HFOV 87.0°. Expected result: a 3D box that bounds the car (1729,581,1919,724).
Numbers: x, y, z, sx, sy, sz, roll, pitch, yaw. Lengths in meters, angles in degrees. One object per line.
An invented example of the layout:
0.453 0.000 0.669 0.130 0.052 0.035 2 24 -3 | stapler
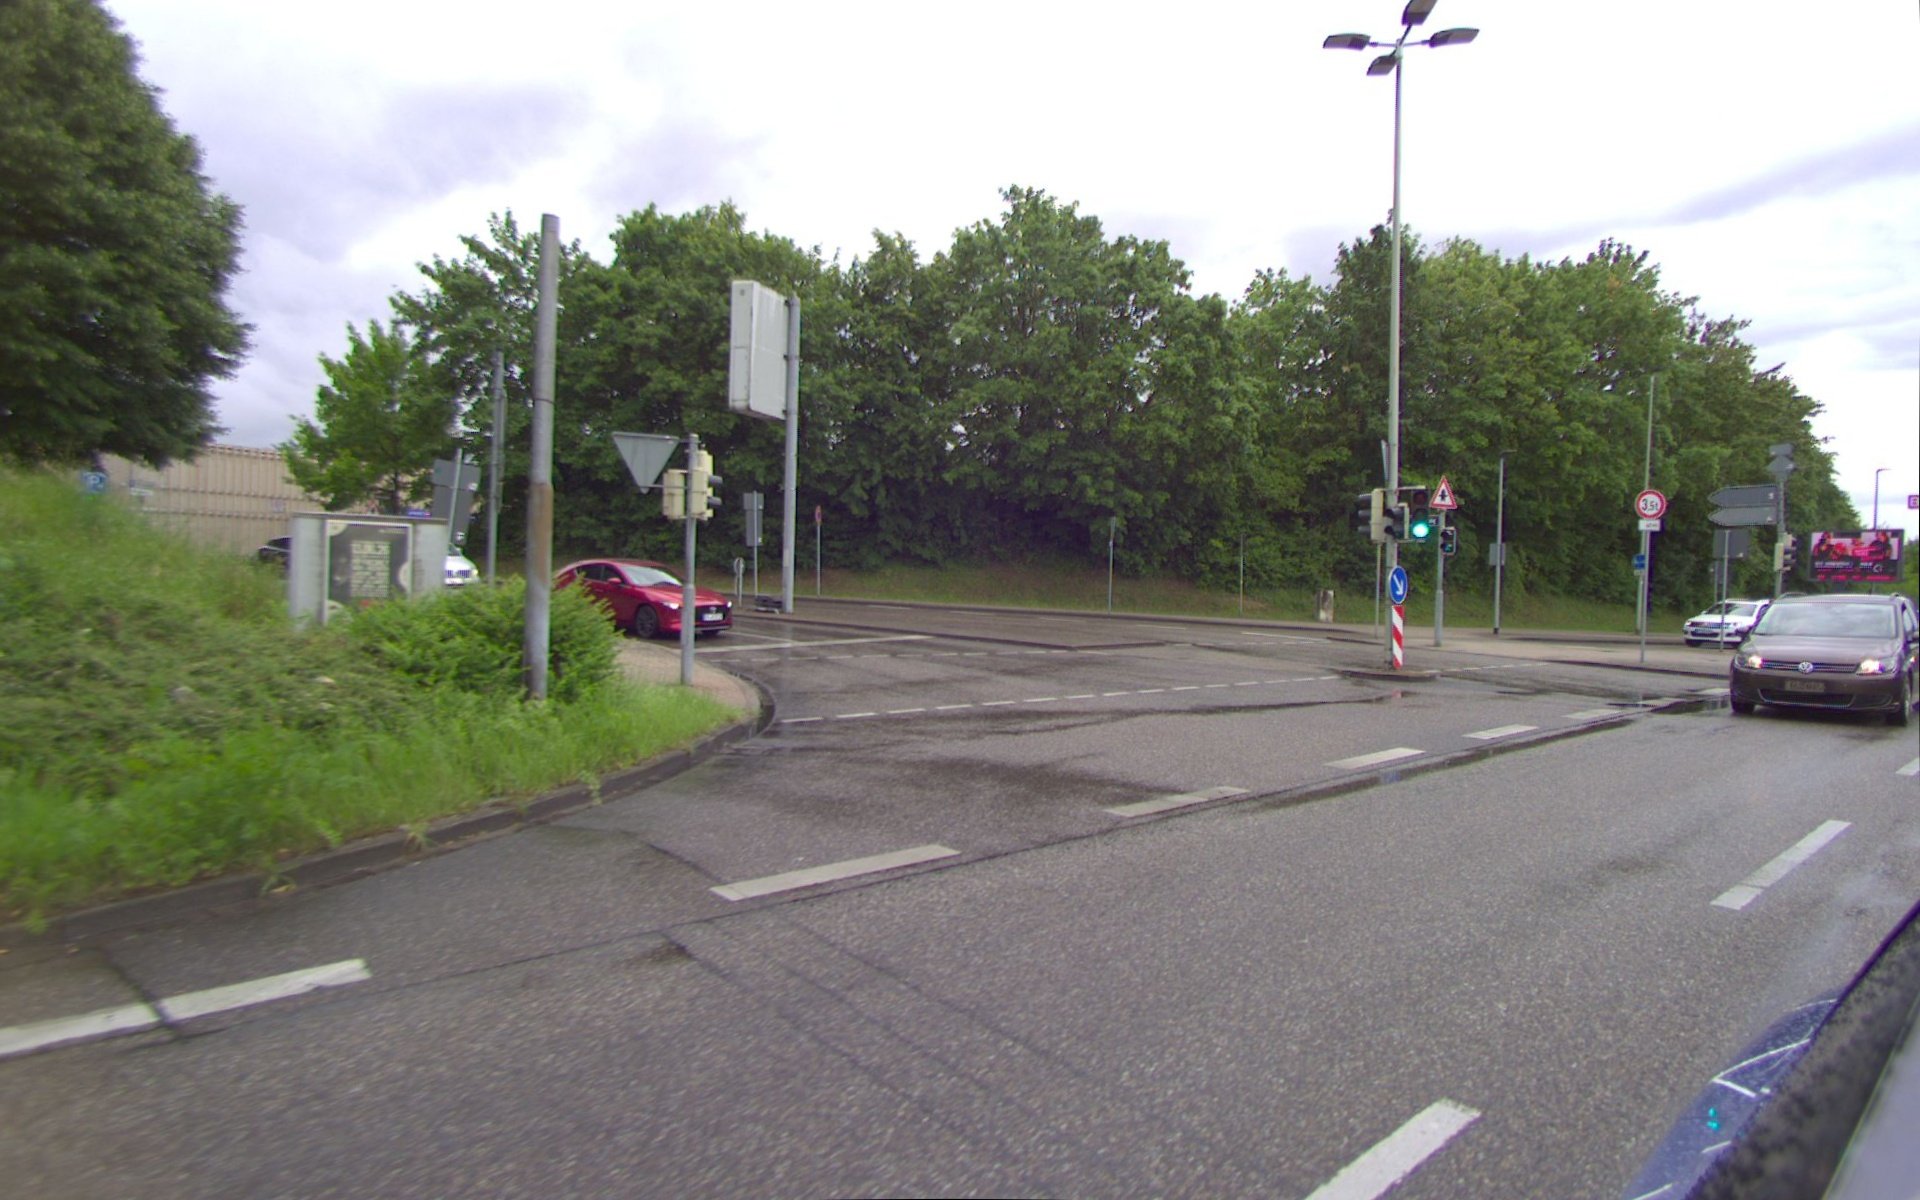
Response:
11.879 0.600 13.528 3.910 1.629 1.750 0 0 -40 | car

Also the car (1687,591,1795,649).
26.219 0.648 33.935 4.240 1.749 1.998 1 1 -40 | car

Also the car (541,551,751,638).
-6.328 -0.184 20.299 3.968 1.445 1.833 4 4 30 | car

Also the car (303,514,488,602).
-13.511 -1.036 24.239 3.954 1.881 1.840 3 3 22 | car

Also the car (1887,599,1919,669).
22.334 0.751 22.740 4.599 1.475 1.782 0 0 -42 | car
